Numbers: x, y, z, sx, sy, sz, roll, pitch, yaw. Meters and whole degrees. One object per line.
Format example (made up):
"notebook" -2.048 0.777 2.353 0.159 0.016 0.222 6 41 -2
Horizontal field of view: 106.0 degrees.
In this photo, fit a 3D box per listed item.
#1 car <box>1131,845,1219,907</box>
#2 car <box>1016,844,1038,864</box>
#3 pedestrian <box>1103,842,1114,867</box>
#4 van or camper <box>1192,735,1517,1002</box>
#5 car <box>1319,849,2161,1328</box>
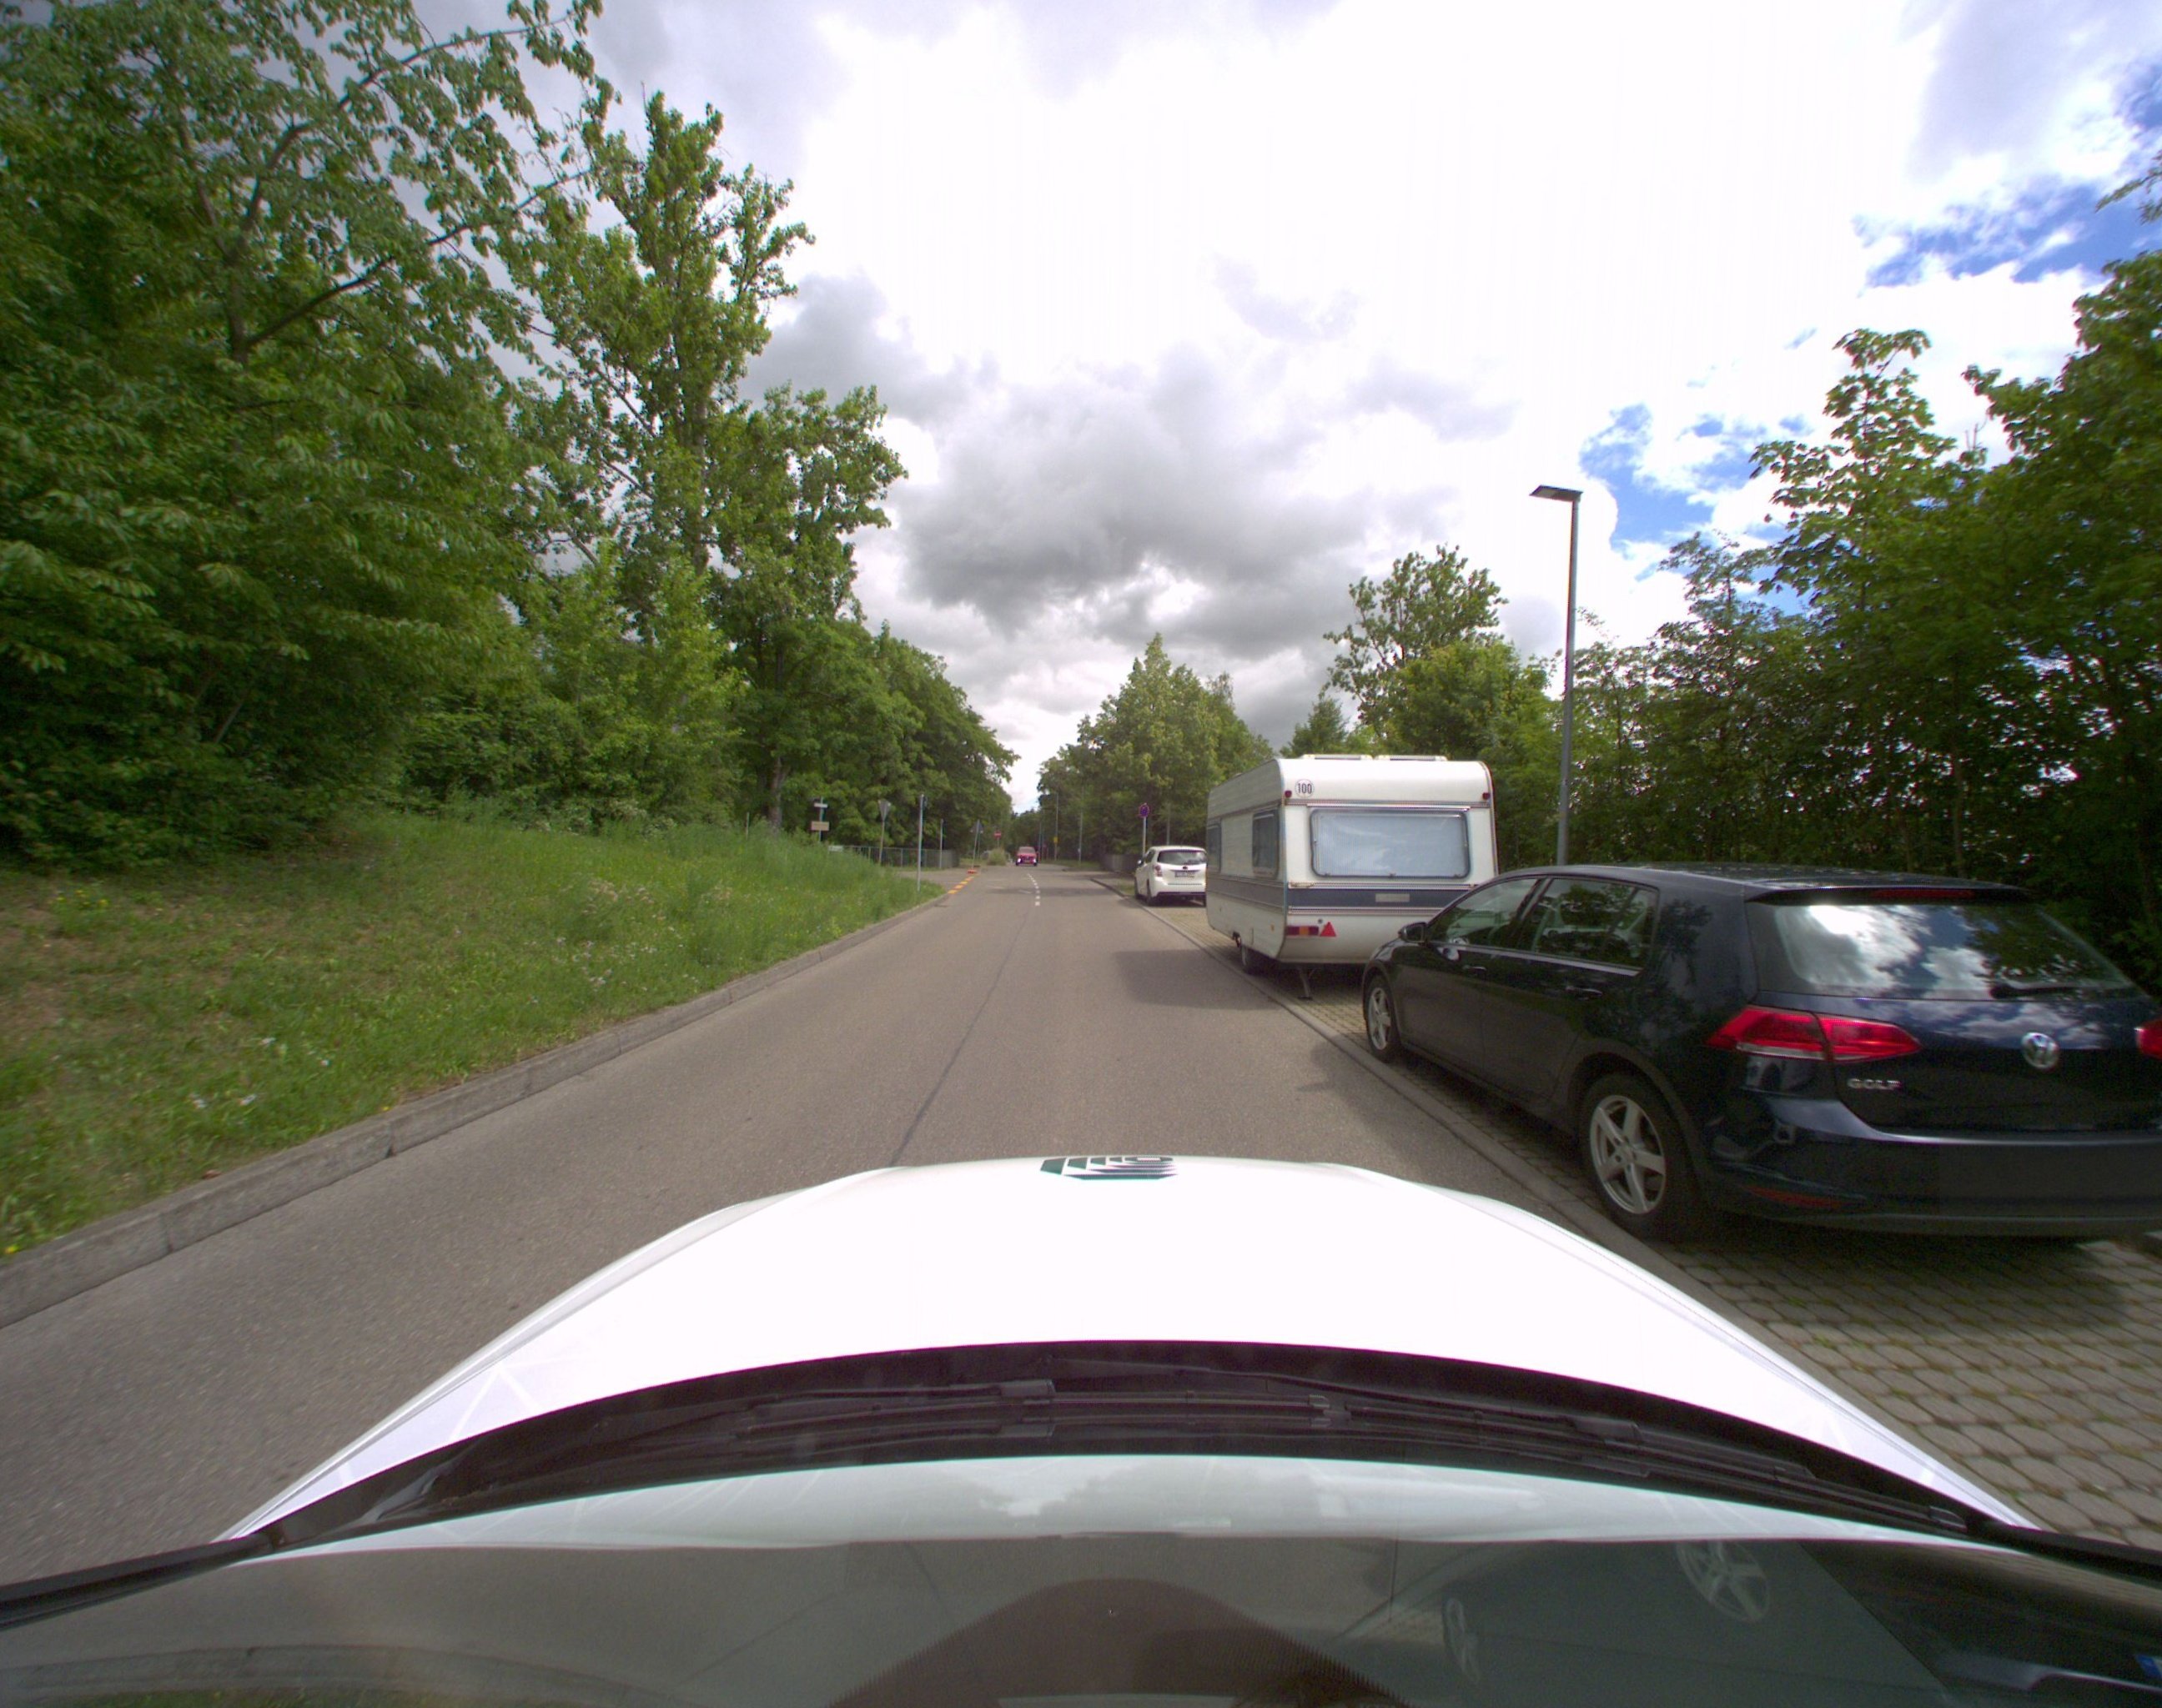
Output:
"car" 2.580 0.542 23.303 1.801 1.600 4.367 0 0 -3
"car" -4.722 0.004 71.260 1.840 1.658 4.215 1 1 -4
"pedestrian" 2.011 0.057 60.254 0.587 1.783 0.679 2 -2 -14
"van or camper" 2.987 0.137 10.367 2.348 2.554 5.071 0 0 -1
"car" 2.925 0.726 4.743 1.677 1.451 4.477 1 0 -1
